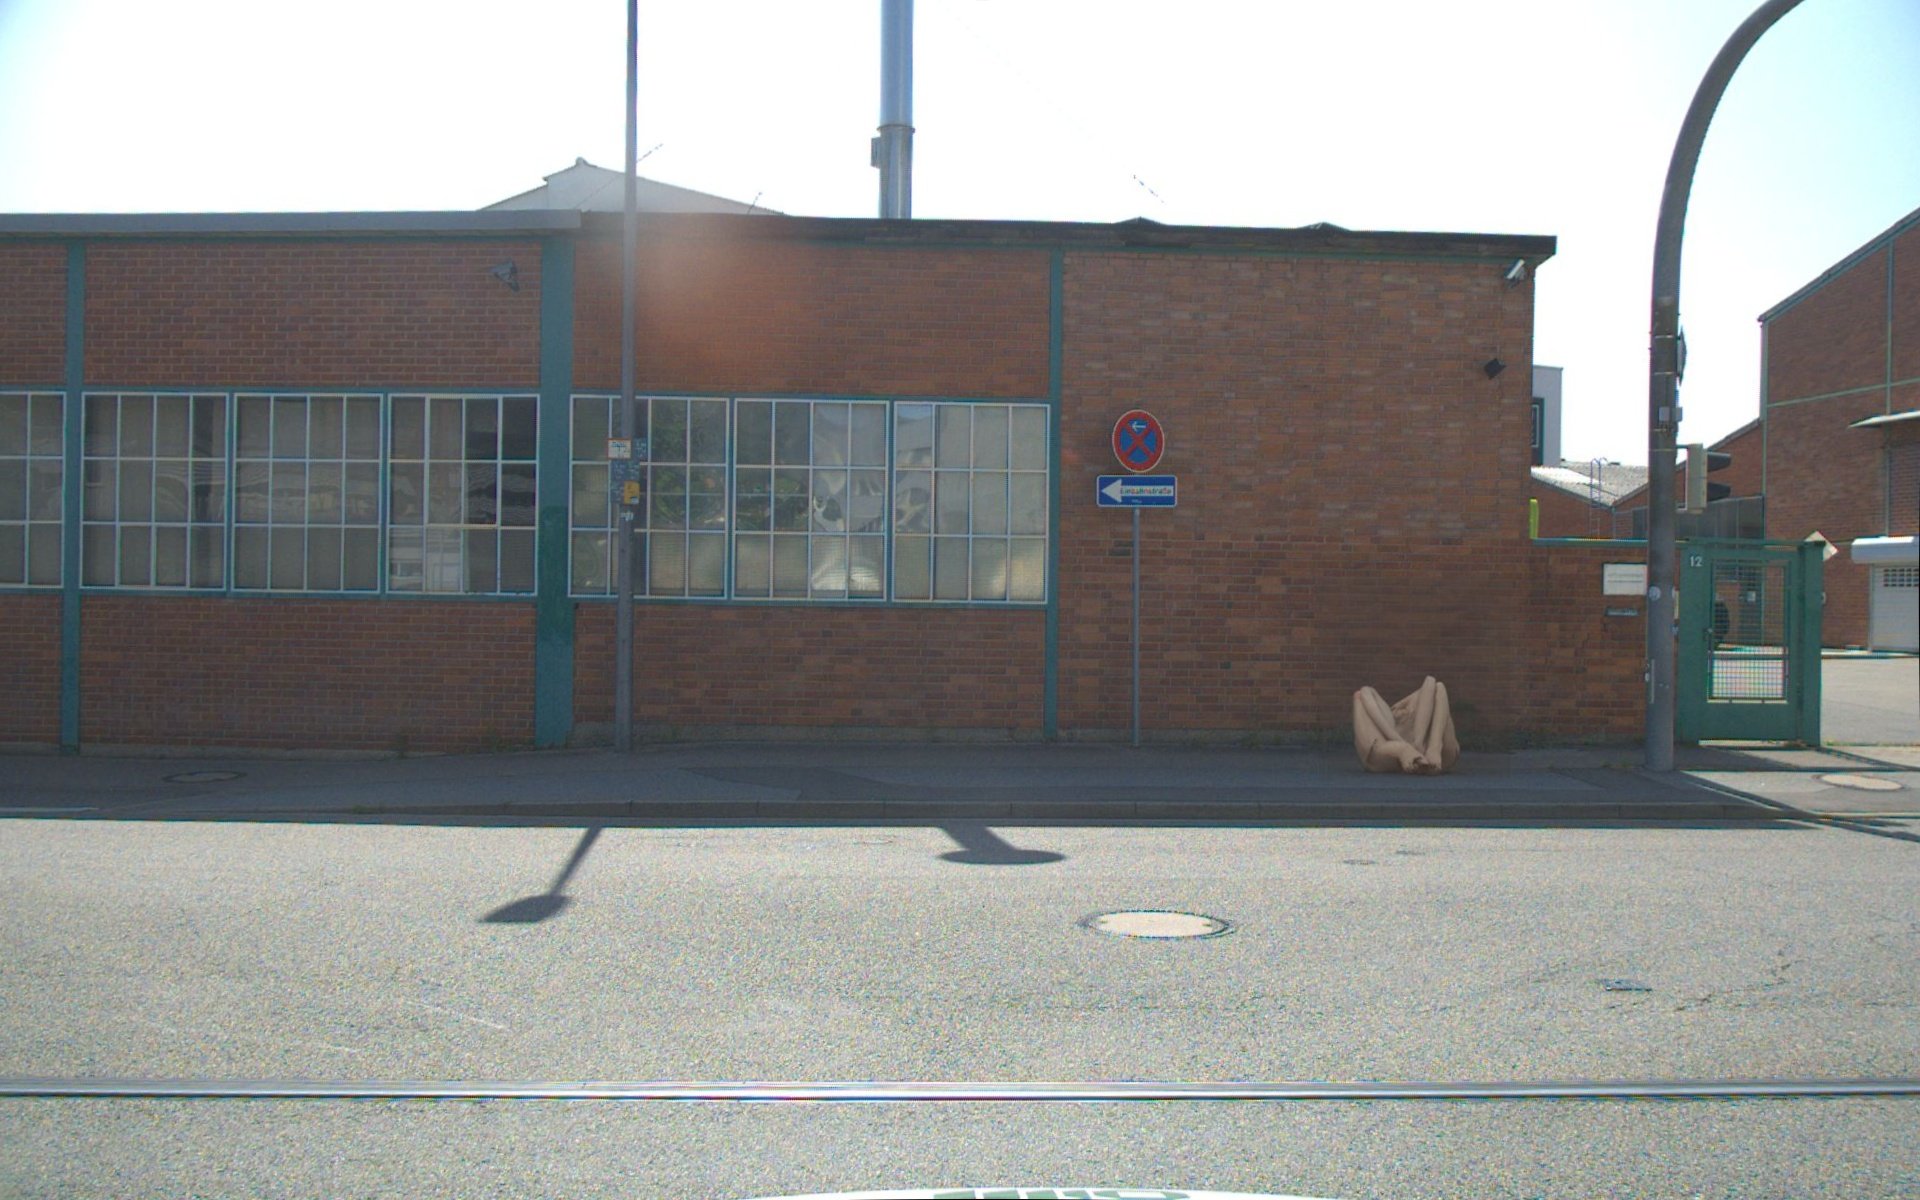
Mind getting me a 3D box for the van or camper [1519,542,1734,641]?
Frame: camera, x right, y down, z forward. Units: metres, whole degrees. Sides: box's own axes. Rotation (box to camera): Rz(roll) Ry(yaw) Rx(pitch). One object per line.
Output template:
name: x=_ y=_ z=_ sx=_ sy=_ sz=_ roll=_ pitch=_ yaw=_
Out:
van or camper: x=14.651 y=-0.171 z=36.329 sx=4.354 sy=1.933 sz=1.983 roll=3 pitch=0 yaw=-27
